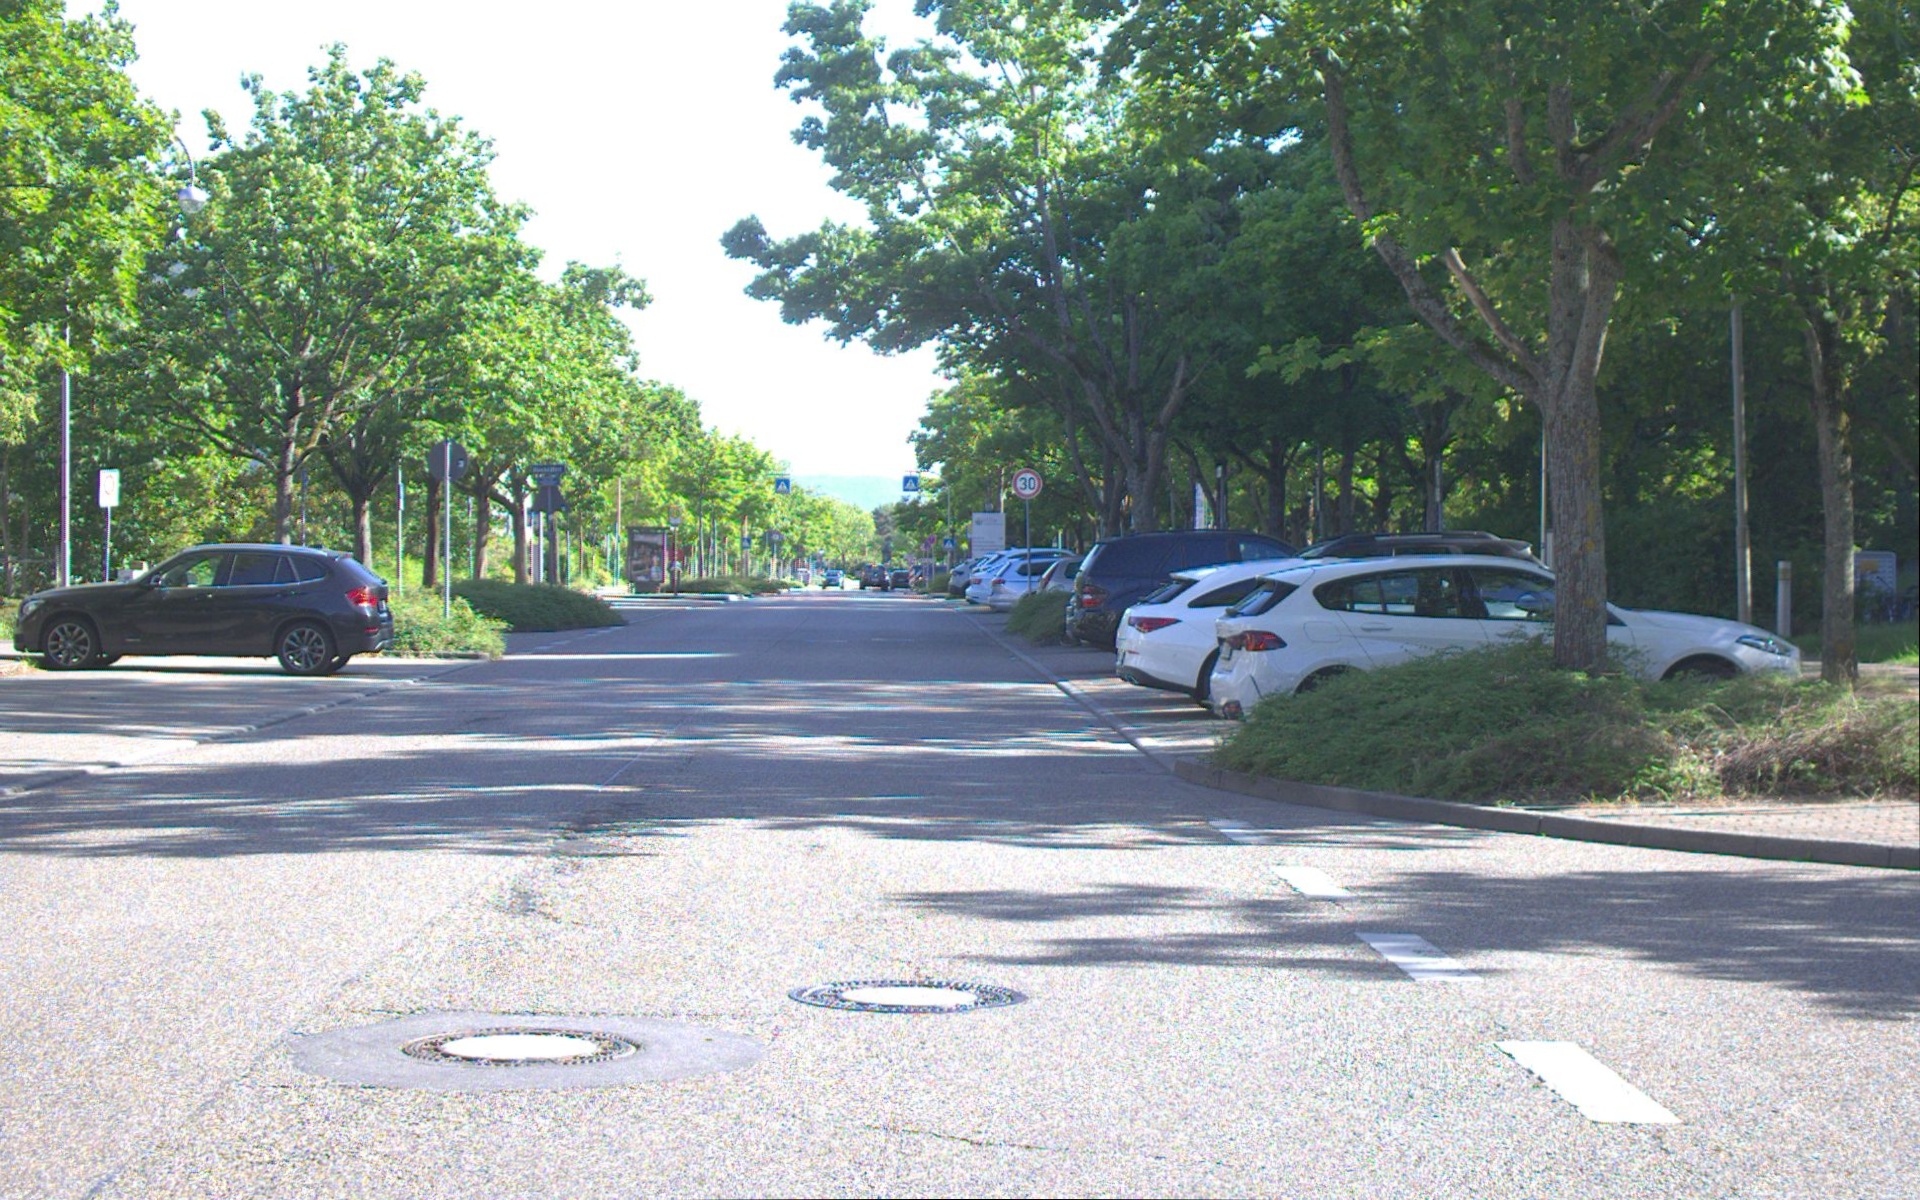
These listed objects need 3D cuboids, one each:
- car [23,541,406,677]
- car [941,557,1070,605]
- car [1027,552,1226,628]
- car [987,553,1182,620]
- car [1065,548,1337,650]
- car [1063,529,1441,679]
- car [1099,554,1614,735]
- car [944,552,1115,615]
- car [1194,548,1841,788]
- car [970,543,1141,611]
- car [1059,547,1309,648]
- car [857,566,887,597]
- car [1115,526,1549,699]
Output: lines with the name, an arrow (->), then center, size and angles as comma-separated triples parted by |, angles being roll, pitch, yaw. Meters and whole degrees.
car -> -8.892, 0.103, 41.224 | 4.192, 1.515, 1.772 | 1, 0, 0
car -> 1.495, -0.641, 114.504 | 4.164, 1.423, 2.000 | -2, 1, -1
car -> 3.439, -0.216, 71.452 | 3.987, 1.446, 1.717 | -1, 1, -1
car -> 2.782, -0.305, 76.320 | 4.275, 1.423, 1.827 | 1, 0, 4
car -> 3.688, -0.029, 53.022 | 3.987, 1.382, 1.822 | -2, 1, -1
car -> 3.669, 0.041, 43.814 | 4.586, 1.773, 2.000 | -1, 0, -1
car -> 3.604, 0.393, 31.740 | 4.441, 1.540, 1.818 | 1, 0, -4
car -> 1.799, -0.438, 90.138 | 4.342, 1.484, 1.738 | -2, 1, -3
car -> 4.086, 0.475, 25.648 | 4.426, 1.587, 1.837 | -2, 1, -4
car -> 2.569, -0.629, 92.848 | 4.434, 1.642, 1.816 | -2, 1, -3
car -> 3.615, -0.053, 55.804 | 3.808, 1.494, 1.701 | -2, 1, -4
car -> -6.241, -1.347, 244.133 | 1.993, 2.006, 4.001 | 1, 2, -1
car -> 3.727, 0.129, 34.886 | 4.117, 1.612, 1.734 | -1, 0, -3
